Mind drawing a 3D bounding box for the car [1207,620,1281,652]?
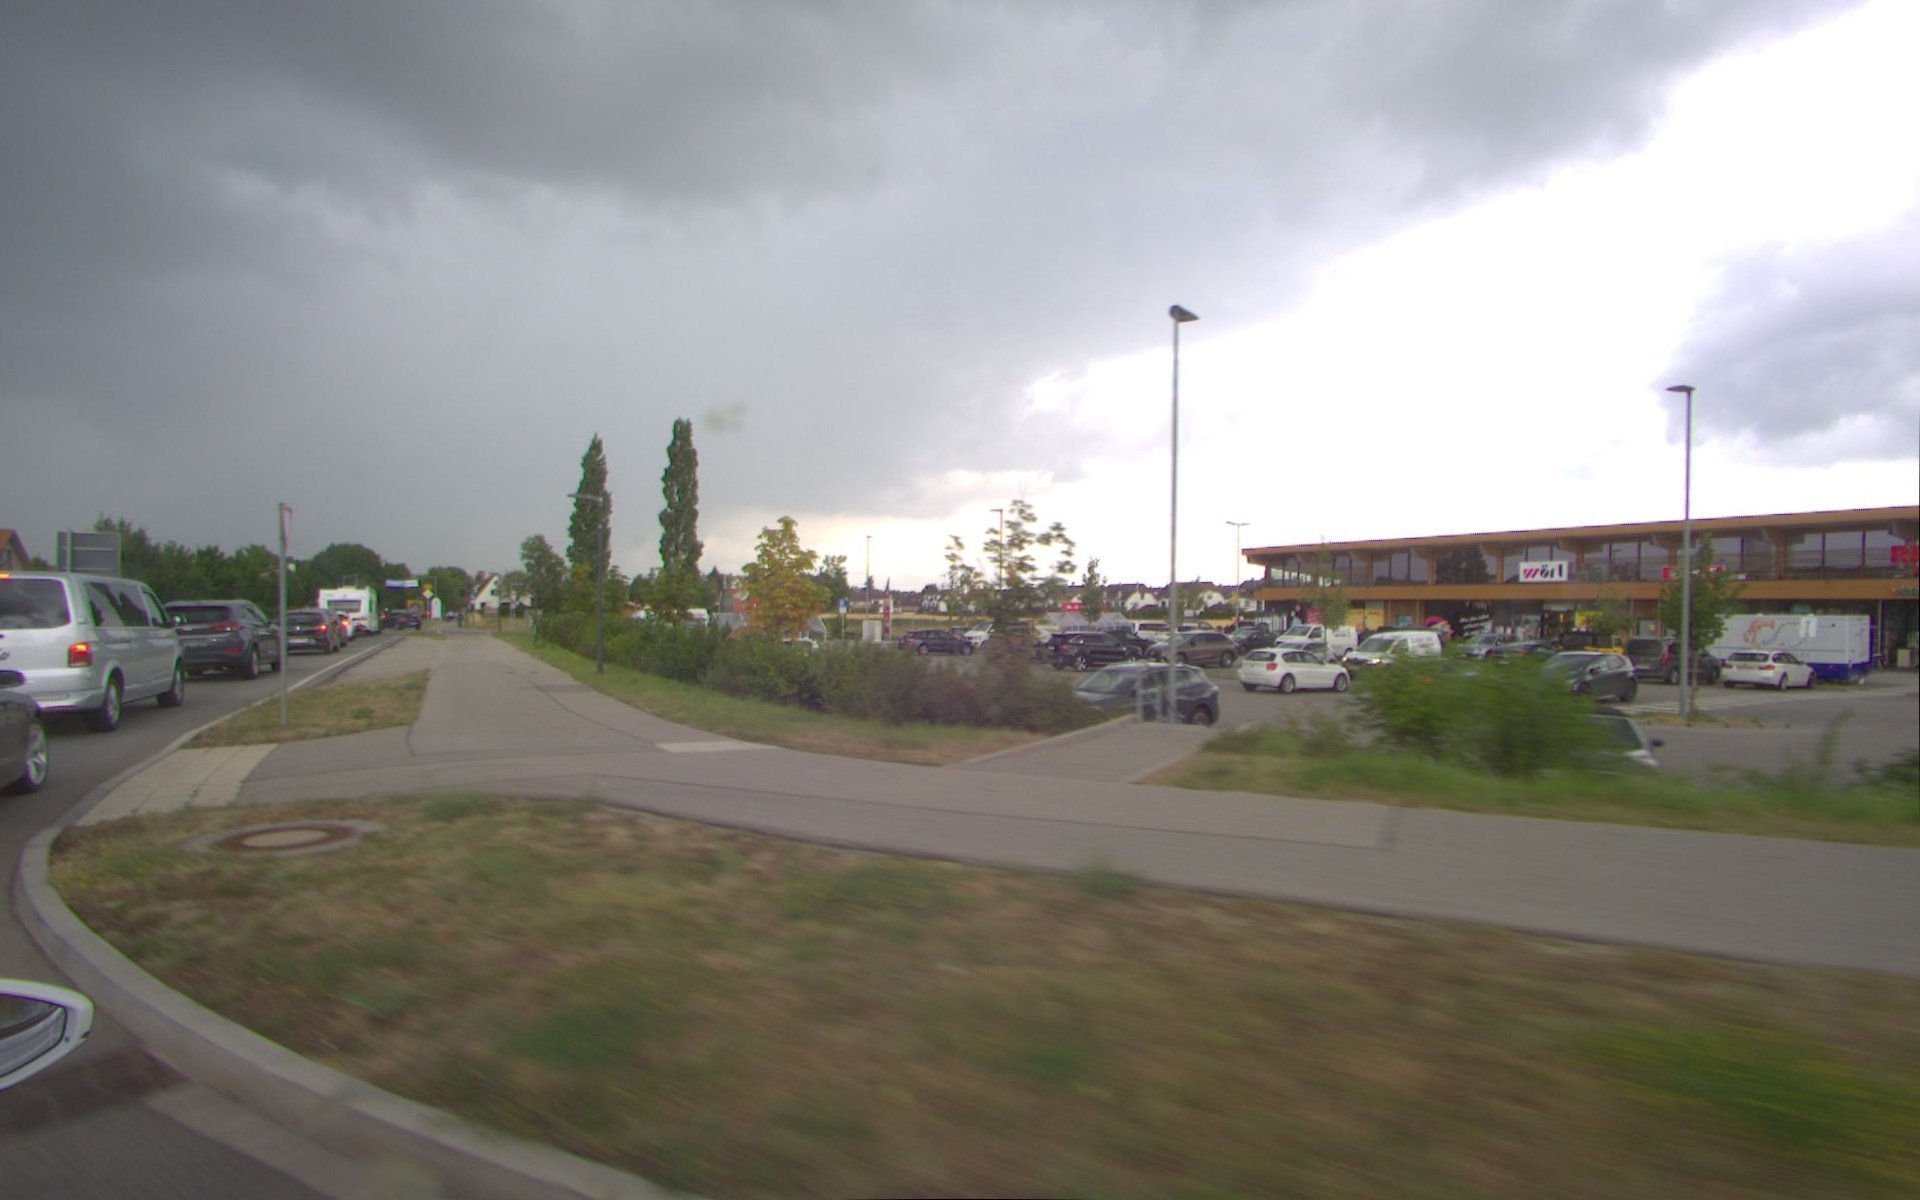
[{"bbox_3d":[17.257,2.150,60.858,3.936,1.862,1.993,1,0,-24],"label":"car"}]

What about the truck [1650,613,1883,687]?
[{"bbox_3d":[34.355,2.006,42.987,2.936,2.844,7.215,1,0,-32],"label":"truck"}]

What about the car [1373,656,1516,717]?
[{"bbox_3d":[13.621,2.375,28.101,3.945,1.416,1.825,1,0,-32],"label":"car"}]

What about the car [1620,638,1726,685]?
[{"bbox_3d":[28.118,2.388,39.485,4.060,1.747,1.843,1,-2,-29],"label":"car"}]

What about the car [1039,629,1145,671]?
[{"bbox_3d":[5.806,2.201,44.020,4.399,1.728,1.795,2,-1,-28],"label":"car"}]

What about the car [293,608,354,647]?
[{"bbox_3d":[-24.822,1.039,39.152,1.756,1.453,3.784,0,0,-28],"label":"car"}]

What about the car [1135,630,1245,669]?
[{"bbox_3d":[10.740,2.293,46.792,4.916,1.686,1.991,1,0,-28],"label":"car"}]

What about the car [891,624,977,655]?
[{"bbox_3d":[-1.460,2.227,57.029,4.503,1.686,1.991,1,0,-27],"label":"car"}]

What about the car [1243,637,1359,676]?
[{"bbox_3d":[14.298,2.331,41.909,4.717,1.504,1.895,1,0,-28],"label":"car"}]

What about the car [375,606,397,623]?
[{"bbox_3d":[-65.625,1.679,114.544,1.970,1.924,3.982,1,-1,-28],"label":"car"}]

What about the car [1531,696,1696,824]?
[{"bbox_3d":[9.761,2.299,15.205,1.555,1.390,3.721,1,-1,25],"label":"car"}]

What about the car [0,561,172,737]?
[{"bbox_3d":[-11.643,0.574,12.854,1.847,1.959,3.979,1,-1,-31],"label":"car"}]

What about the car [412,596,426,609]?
[{"bbox_3d":[-99.967,0.453,185.009,1.967,2.240,3.987,1,0,-23],"label":"car"}]

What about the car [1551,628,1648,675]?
[{"bbox_3d":[27.314,2.169,42.765,3.940,1.879,1.764,1,-1,-28],"label":"car"}]

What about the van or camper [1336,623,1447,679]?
[{"bbox_3d":[17.468,2.017,40.490,4.739,2.125,1.755,1,-1,-32],"label":"van or camper"}]

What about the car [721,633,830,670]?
[{"bbox_3d":[-7.870,2.173,42.751,4.182,1.459,1.991,1,0,-27],"label":"car"}]

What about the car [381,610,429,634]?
[{"bbox_3d":[-44.432,1.740,80.132,3.941,1.817,1.611,0,-1,31],"label":"car"}]

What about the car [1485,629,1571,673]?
[{"bbox_3d":[25.723,2.263,45.322,3.946,1.878,1.762,1,-1,-32],"label":"car"}]

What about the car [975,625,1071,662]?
[{"bbox_3d":[3.131,2.125,49.557,4.351,1.686,1.991,1,0,-27],"label":"car"}]

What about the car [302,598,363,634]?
[{"bbox_3d":[-29.716,0.791,47.532,1.969,1.616,3.985,1,-1,-26],"label":"car"}]

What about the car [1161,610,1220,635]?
[{"bbox_3d":[17.165,1.665,74.636,3.936,1.864,1.868,1,0,-24],"label":"car"}]

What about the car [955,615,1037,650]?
[{"bbox_3d":[2.320,2.012,63.151,5.064,2.041,1.984,0,1,-38],"label":"car"}]

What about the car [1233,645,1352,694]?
[{"bbox_3d":[11.239,2.315,33.765,3.942,1.504,1.673,2,-1,-32],"label":"car"}]

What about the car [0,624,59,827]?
[{"bbox_3d":[-7.397,0.869,6.438,1.766,1.409,4.107,1,-1,-33],"label":"car"}]

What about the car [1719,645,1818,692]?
[{"bbox_3d":[29.942,2.497,37.051,3.947,1.550,1.721,1,0,-33],"label":"car"}]

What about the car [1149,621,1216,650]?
[{"bbox_3d":[14.614,2.335,65.847,3.936,1.861,1.993,1,-1,-24],"label":"car"}]

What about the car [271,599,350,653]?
[{"bbox_3d":[-21.203,0.817,32.801,1.755,1.639,3.982,0,0,-27],"label":"car"}]

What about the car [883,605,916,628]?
[{"bbox_3d":[-5.750,1.574,95.102,1.968,2.039,3.989,4,-2,-21],"label":"car"}]

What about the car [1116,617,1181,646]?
[{"bbox_3d":[12.903,2.142,68.431,3.936,1.862,1.993,1,0,-24],"label":"car"}]

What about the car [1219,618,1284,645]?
[{"bbox_3d":[20.021,2.177,68.831,3.937,1.795,1.992,1,0,-25],"label":"car"}]

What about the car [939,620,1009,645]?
[{"bbox_3d":[0.930,2.117,65.296,4.259,1.598,1.760,1,0,-26],"label":"car"}]

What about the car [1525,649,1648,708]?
[{"bbox_3d":[19.357,2.370,30.901,3.947,1.573,1.721,1,0,-33],"label":"car"}]

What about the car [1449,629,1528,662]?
[{"bbox_3d":[27.882,2.381,52.798,4.167,1.633,1.758,1,-1,-31],"label":"car"}]

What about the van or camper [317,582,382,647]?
[{"bbox_3d":[-33.728,0.843,55.503,2.594,3.366,6.791,1,-1,-27],"label":"van or camper"}]

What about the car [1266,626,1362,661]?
[{"bbox_3d":[19.544,2.389,55.225,5.224,1.855,1.991,1,-1,-28],"label":"car"}]

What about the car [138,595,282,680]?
[{"bbox_3d":[-15.888,0.763,21.411,1.755,1.639,3.983,1,-1,-27],"label":"car"}]

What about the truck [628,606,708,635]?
[{"bbox_3d":[-19.439,1.386,66.715,4.746,1.896,1.989,1,-1,-32],"label":"truck"}]

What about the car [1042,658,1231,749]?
[{"bbox_3d":[3.851,2.153,21.635,3.951,1.628,1.777,1,0,-36],"label":"car"}]
